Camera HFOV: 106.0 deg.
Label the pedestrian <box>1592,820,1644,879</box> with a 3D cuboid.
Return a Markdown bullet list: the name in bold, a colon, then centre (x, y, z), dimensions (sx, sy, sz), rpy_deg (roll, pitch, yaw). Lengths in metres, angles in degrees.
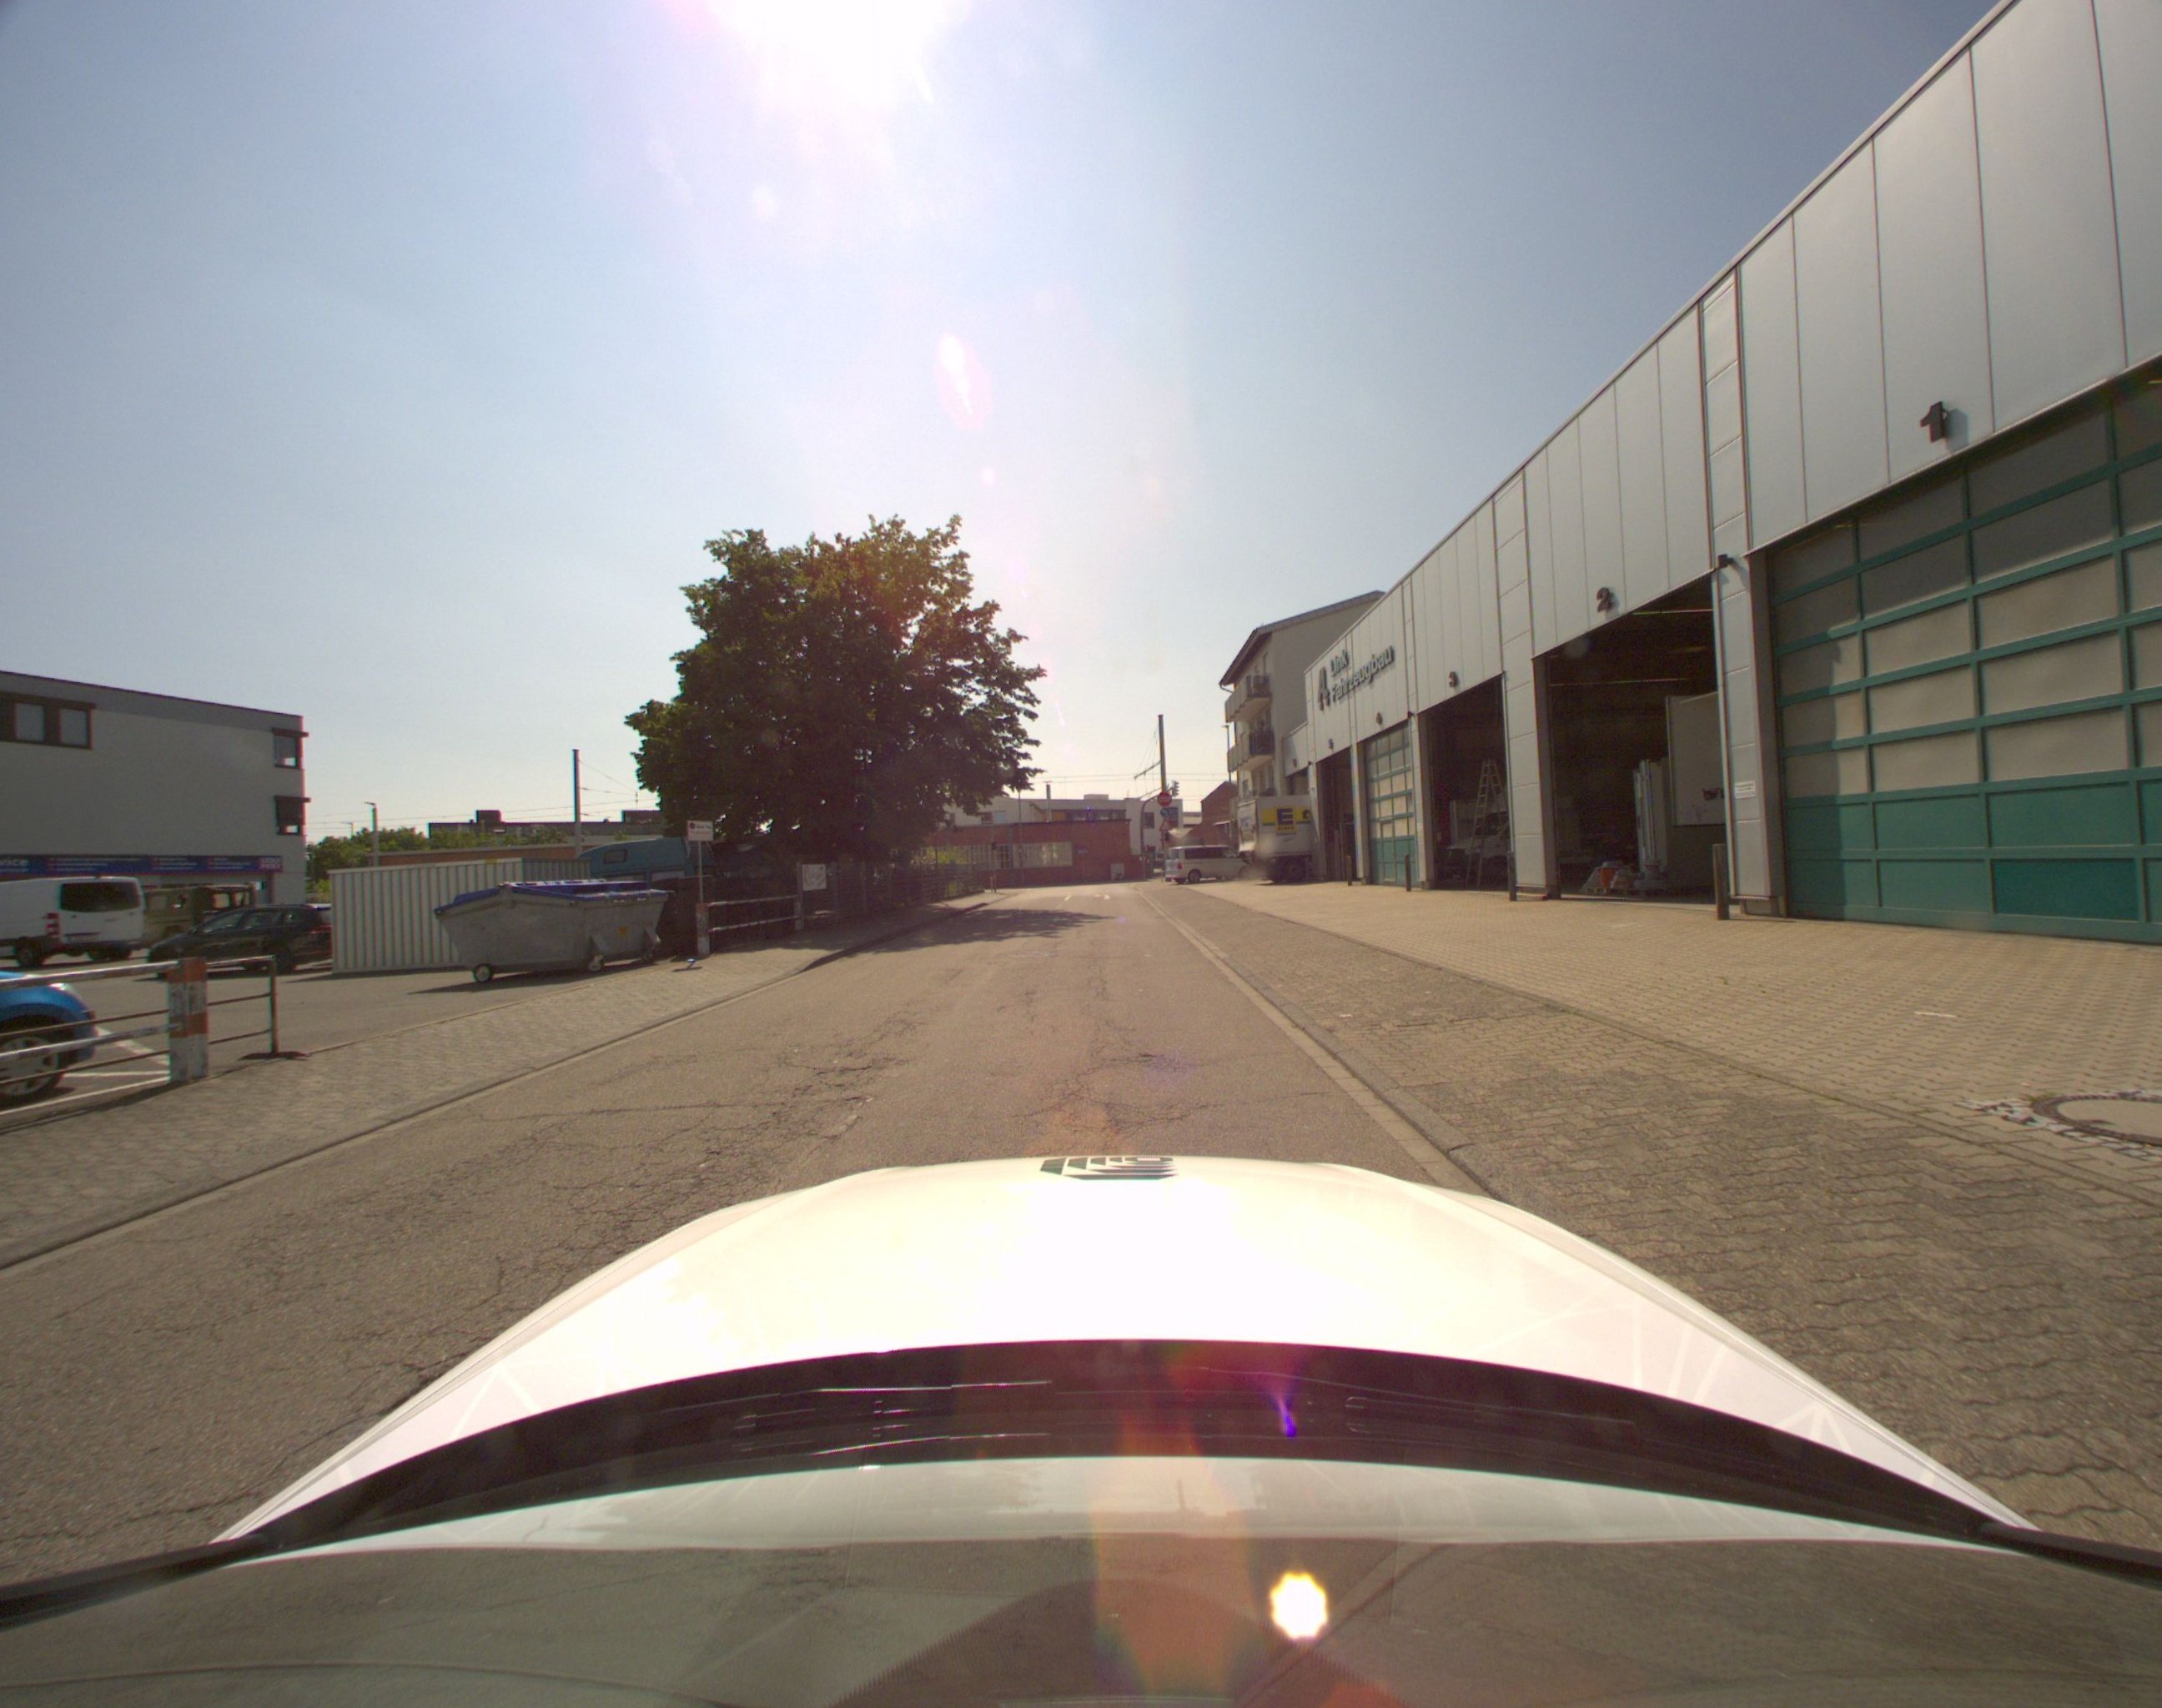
- **pedestrian**: centre (15.155, -0.124, 22.996), dimensions (0.809, 1.621, 0.865), rpy_deg (-2, -1, 0)

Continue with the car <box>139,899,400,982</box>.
- **car**: centre (-17.778, 1.864, 17.948), dimensions (4.123, 1.455, 1.755), rpy_deg (-3, -1, 4)

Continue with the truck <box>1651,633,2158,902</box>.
- **truck**: centre (13.169, -1.248, 13.513), dimensions (5.275, 3.749, 2.781), rpy_deg (-2, -1, 4)

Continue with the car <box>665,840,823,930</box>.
- **car**: centre (-10.382, 0.942, 25.296), dimensions (4.073, 2.513, 1.776), rpy_deg (-2, -1, -1)

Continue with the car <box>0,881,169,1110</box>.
- **car**: centre (-8.244, 1.006, 4.677), dimensions (1.808, 1.530, 3.674), rpy_deg (-3, -1, 0)

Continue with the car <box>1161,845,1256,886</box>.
- **car**: centre (6.822, 0.601, 43.631), dimensions (4.666, 1.958, 1.905), rpy_deg (-2, -1, -18)

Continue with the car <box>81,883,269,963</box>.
- **car**: centre (-28.244, 2.126, 25.460), dimensions (3.964, 2.145, 2.005), rpy_deg (-4, -1, 8)

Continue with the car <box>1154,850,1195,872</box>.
- **car**: centre (10.203, 0.745, 88.663), dimensions (4.013, 2.189, 1.980), rpy_deg (-2, -1, -31)

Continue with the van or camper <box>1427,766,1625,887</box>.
- **van or camper**: centre (13.203, -0.788, 24.360), dimensions (4.743, 3.288, 1.998), rpy_deg (-2, -1, -2)

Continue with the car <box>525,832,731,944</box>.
- **car**: centre (-11.282, 0.823, 20.481), dimensions (4.073, 2.513, 1.776), rpy_deg (-2, -1, -1)

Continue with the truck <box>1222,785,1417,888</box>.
- **truck**: centre (10.166, -0.730, 35.201), dimensions (7.347, 3.645, 2.763), rpy_deg (-5, -1, -5)

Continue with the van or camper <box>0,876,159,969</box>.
- **van or camper**: centre (-29.046, 1.931, 22.750), dimensions (4.746, 2.324, 2.128), rpy_deg (-3, -1, 10)

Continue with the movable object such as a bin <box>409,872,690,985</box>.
- **movable object such as a bin**: centre (-8.464, 1.131, 13.279), dimensions (2.612, 1.510, 2.734), rpy_deg (-3, -1, 7)
